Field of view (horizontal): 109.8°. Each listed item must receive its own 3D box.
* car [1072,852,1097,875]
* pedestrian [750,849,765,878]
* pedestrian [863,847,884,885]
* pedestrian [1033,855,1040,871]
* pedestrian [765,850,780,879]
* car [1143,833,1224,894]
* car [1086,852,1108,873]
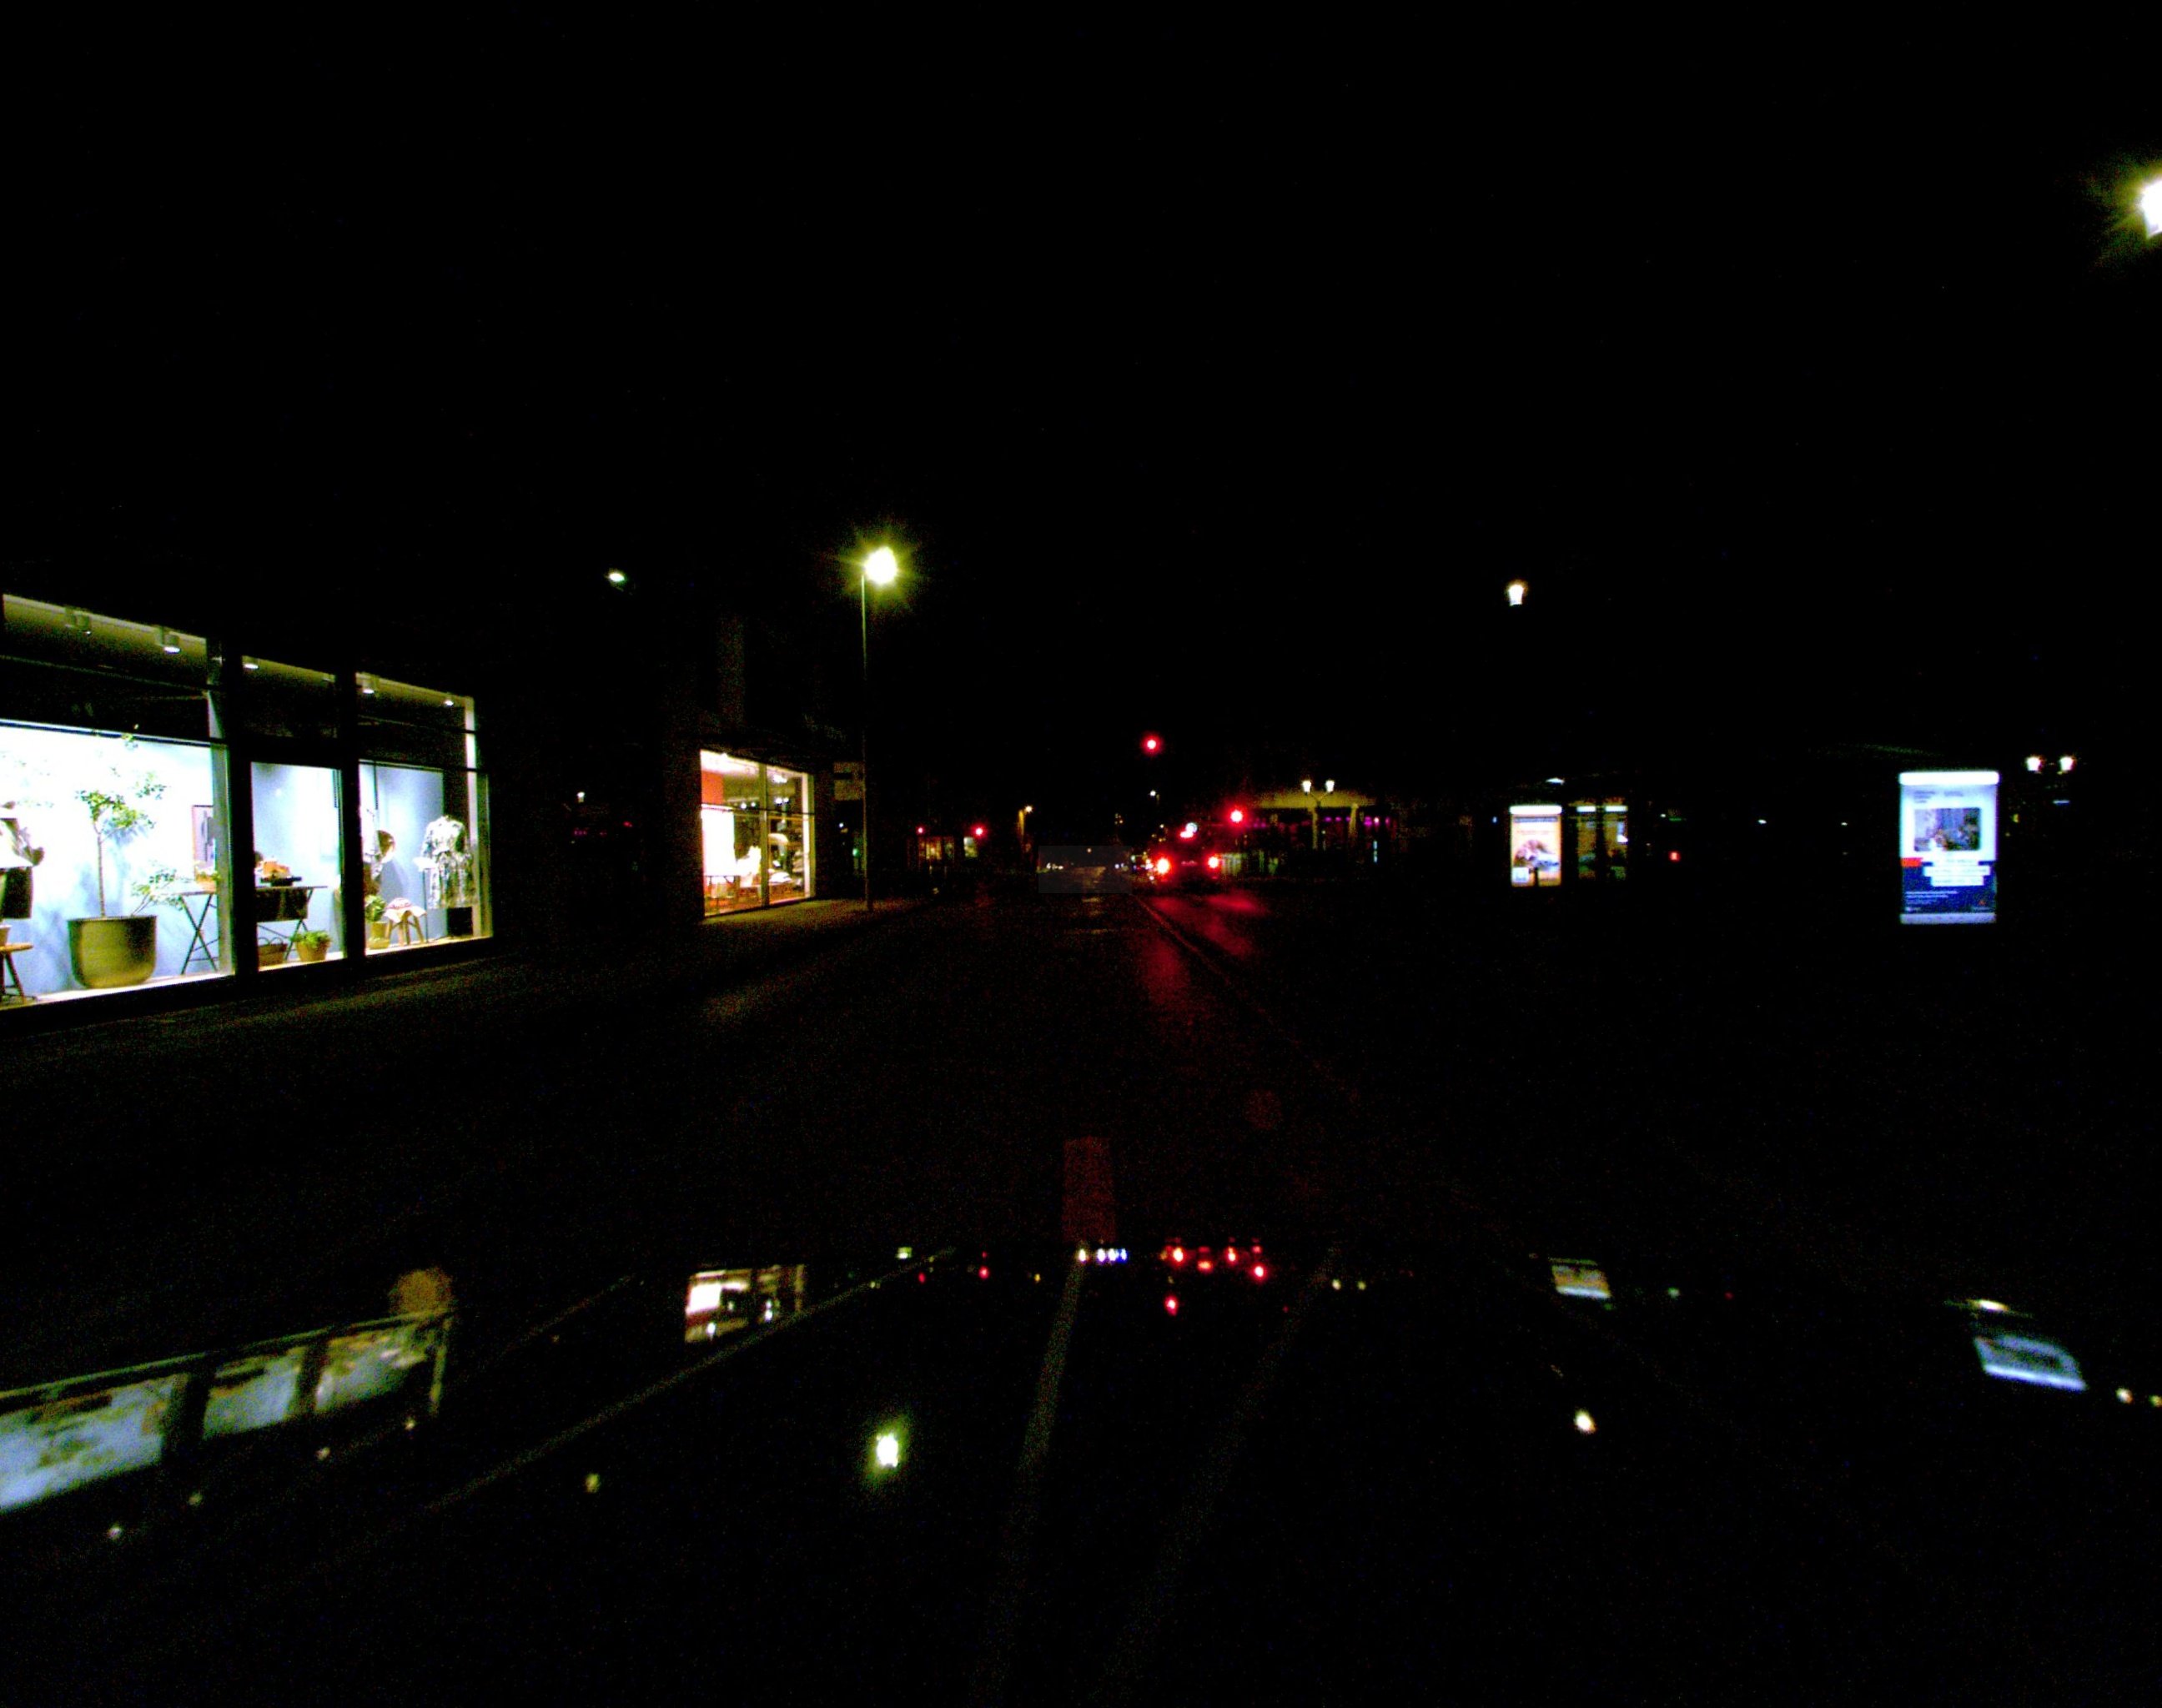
[{"bbox_3d":[0.282,0.698,60.171,1.713,1.660,3.738,-2,1,3],"label":"car"},{"bbox_3d":[-19.696,0.558,46.275,0.567,1.707,0.567,-2,1,7],"label":"pedestrian"},{"bbox_3d":[-9.247,0.524,33.819,0.539,1.672,0.648,-2,1,23],"label":"pedestrian"},{"bbox_3d":[-4.266,0.859,72.879,0.647,1.487,0.830,0,1,2],"label":"pedestrian"},{"bbox_3d":[-18.738,0.640,46.142,0.524,1.707,0.567,-2,1,7],"label":"pedestrian"},{"bbox_3d":[3.373,0.257,25.948,1.972,1.861,4.911,-1,1,-1],"label":"car"},{"bbox_3d":[1.383,0.711,66.899,1.879,1.718,3.999,-2,1,1],"label":"car"}]
